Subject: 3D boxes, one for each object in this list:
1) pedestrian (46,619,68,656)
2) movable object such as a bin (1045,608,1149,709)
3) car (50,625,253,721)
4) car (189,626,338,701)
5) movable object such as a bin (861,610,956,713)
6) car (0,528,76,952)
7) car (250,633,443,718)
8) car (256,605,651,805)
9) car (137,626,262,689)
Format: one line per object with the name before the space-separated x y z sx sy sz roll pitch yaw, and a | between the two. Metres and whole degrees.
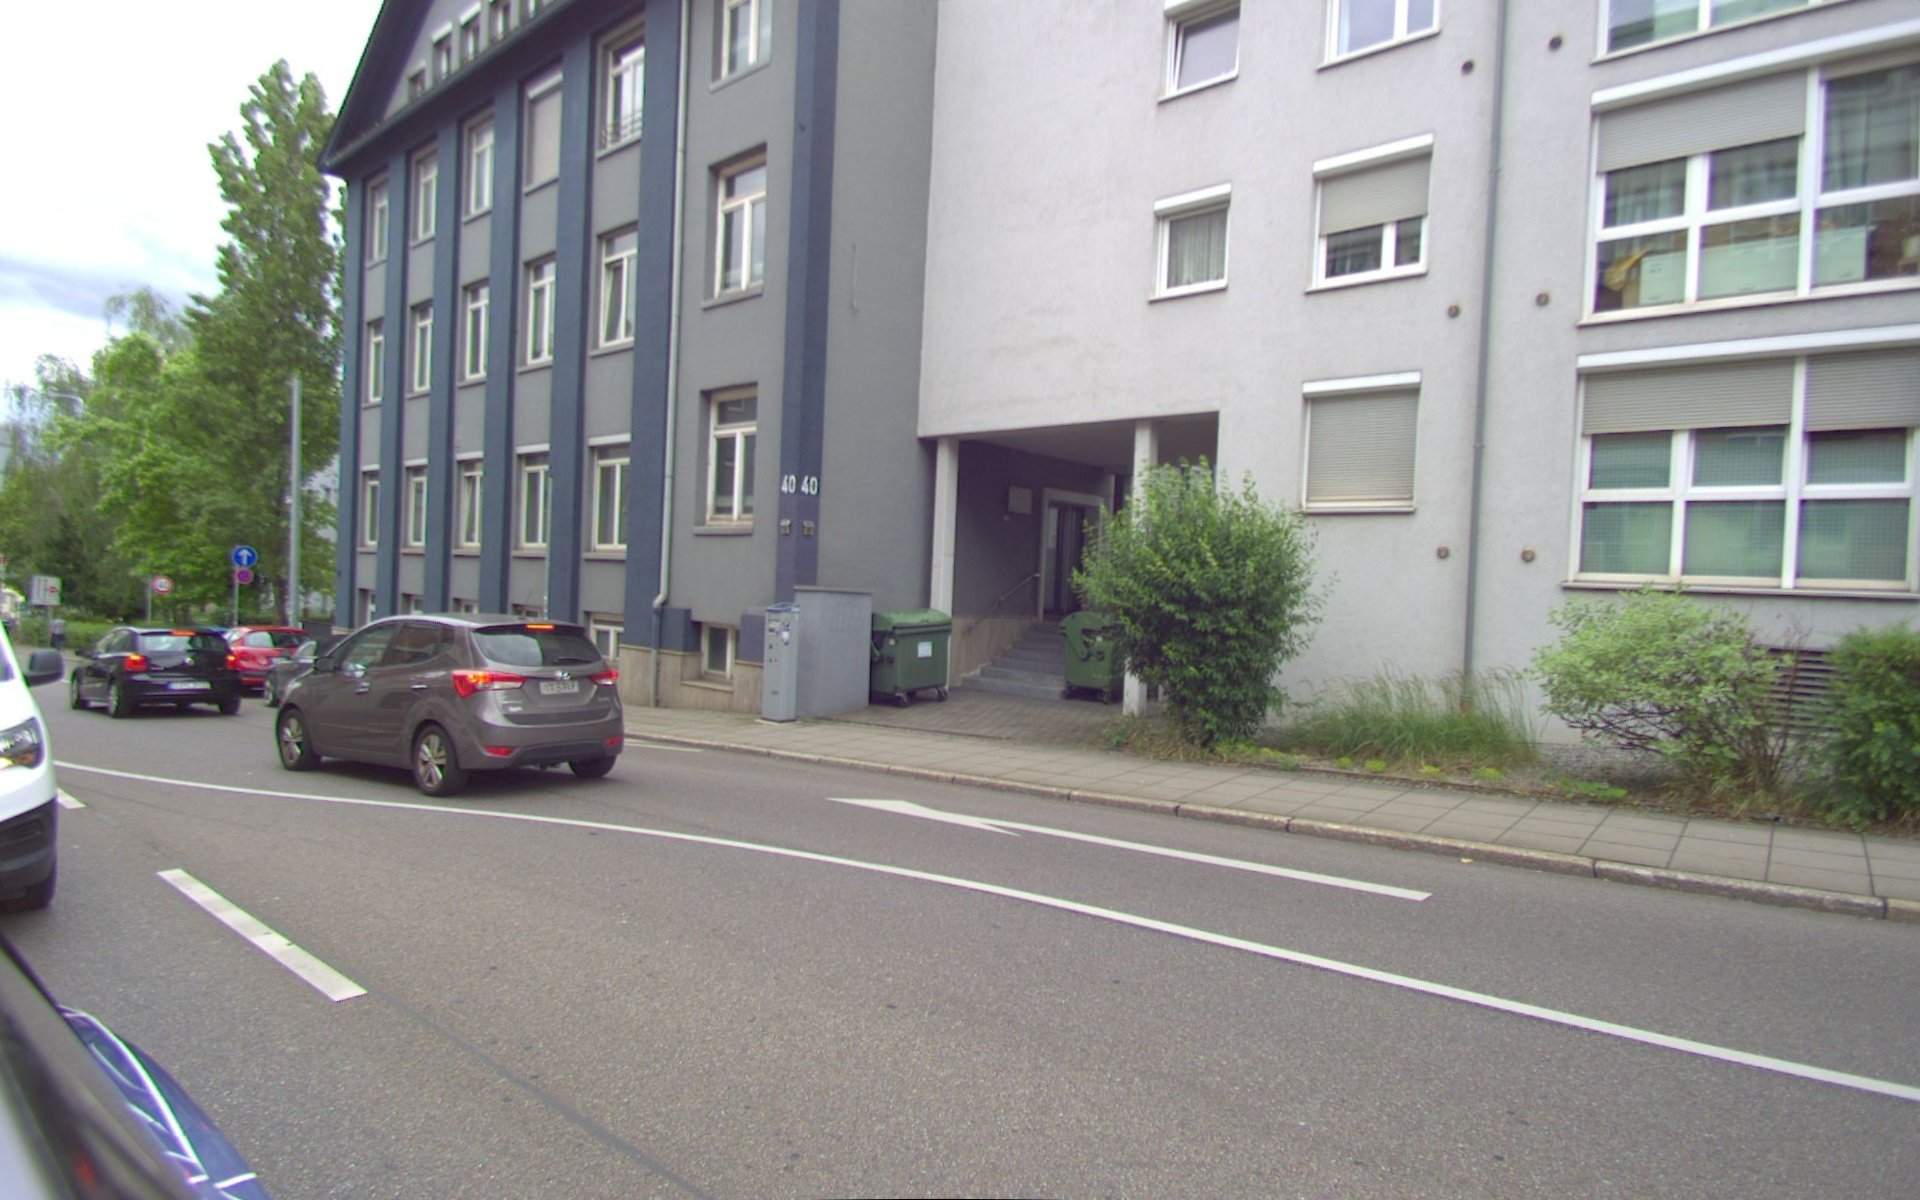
pedestrian | -46.120 1.916 51.675 0.776 1.864 0.736 -2 -1 42
movable object such as a bin | 2.247 0.928 16.625 1.190 1.489 1.132 5 2 41
car | -13.384 1.146 16.697 3.787 1.411 1.658 -1 -4 37
car | -15.226 1.339 22.047 3.868 1.485 1.796 -2 -4 42
movable object such as a bin | -0.793 0.917 15.673 0.784 1.467 1.251 0 1 44
car | -6.415 0.651 5.495 4.937 1.821 1.816 -1 0 42
car | -11.040 1.300 18.117 4.038 1.337 1.702 -1 -4 40
car | -5.038 0.910 9.936 3.925 1.599 1.690 -1 -4 34
car | -19.323 1.418 25.658 3.724 1.465 1.702 -1 -3 40
